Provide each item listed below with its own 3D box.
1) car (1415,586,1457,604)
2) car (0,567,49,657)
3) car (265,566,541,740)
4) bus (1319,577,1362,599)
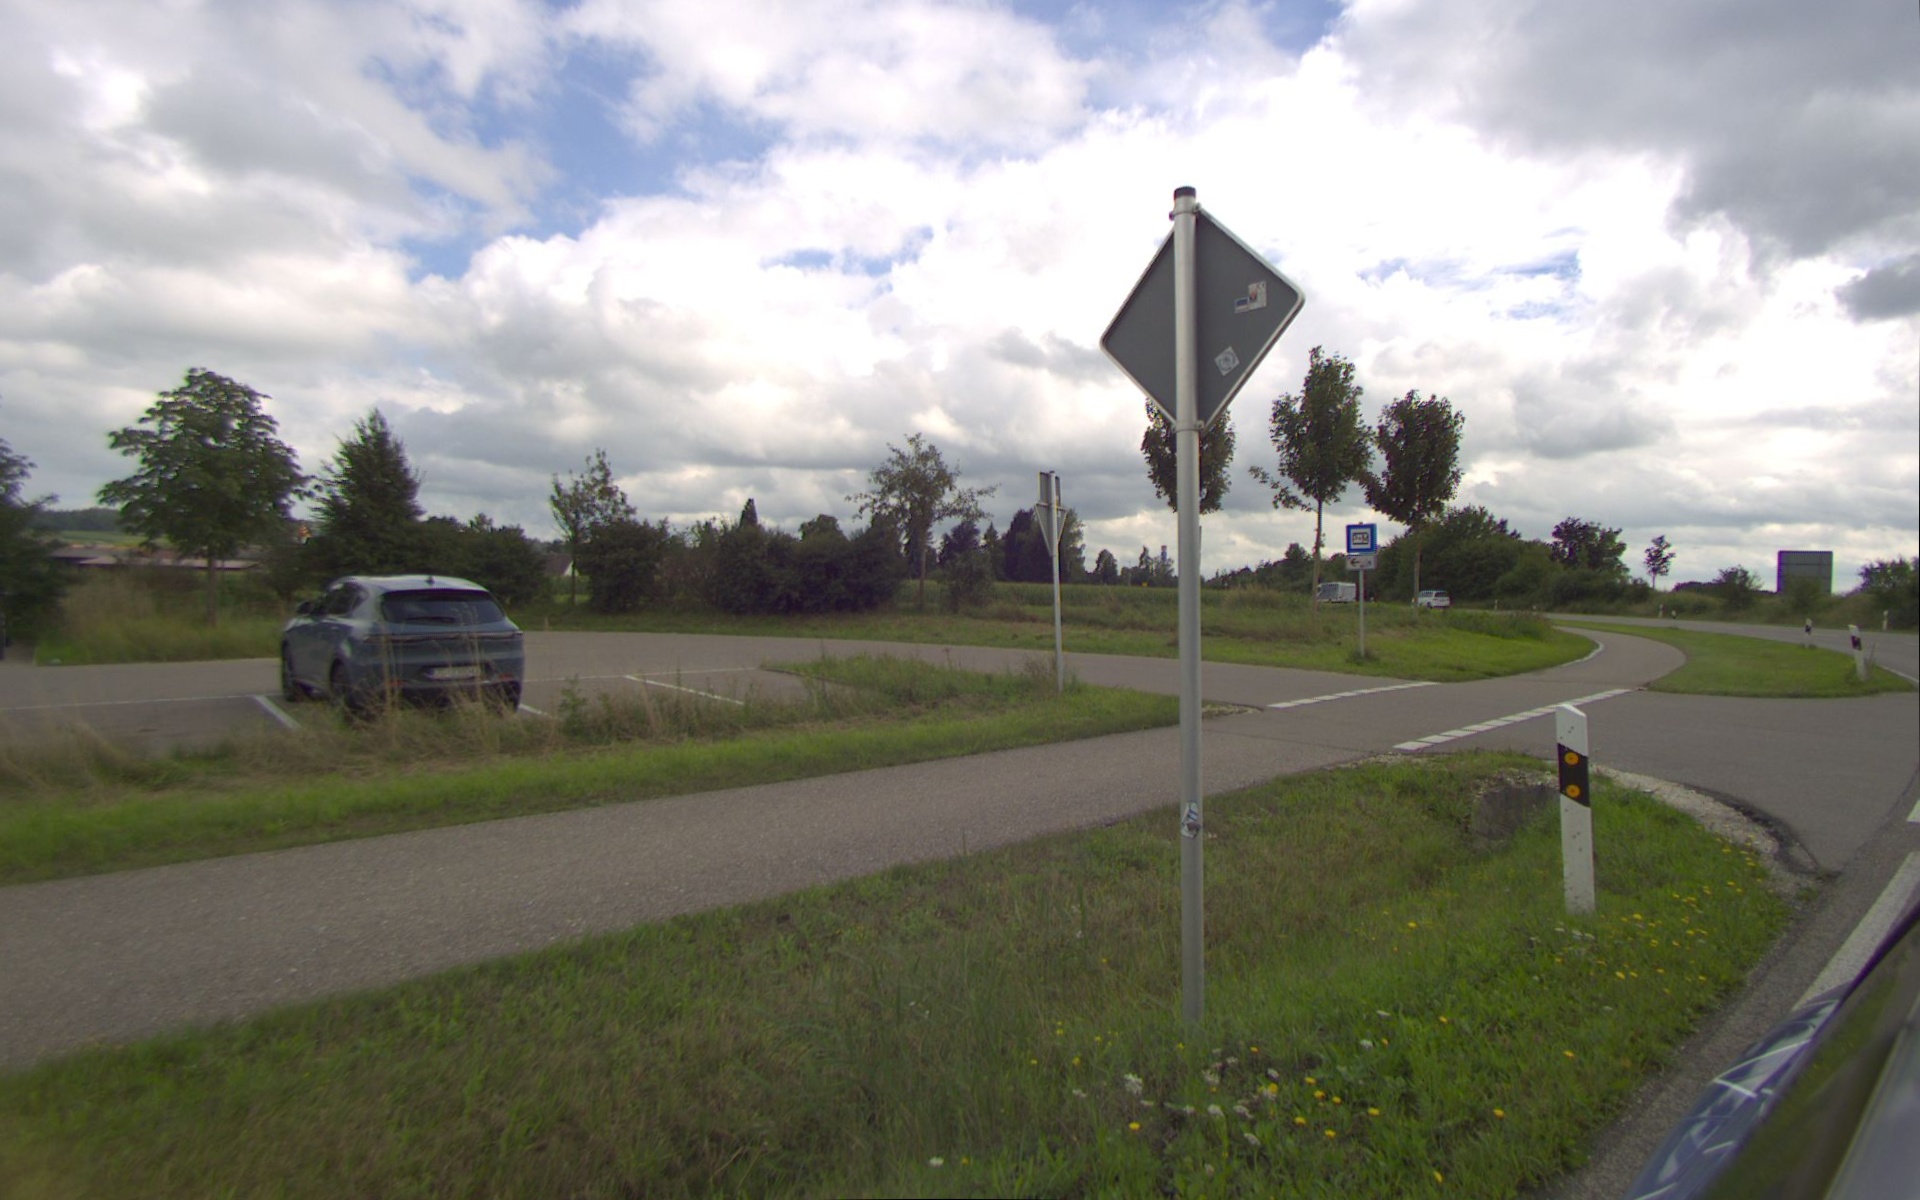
[{"bbox_3d":[50.963,-0.587,108.375,2.080,1.892,5.186,1,1,1],"label":"car"},{"bbox_3d":[-16.539,0.159,17.026,1.701,1.408,3.690,0,1,-44],"label":"car"},{"bbox_3d":[-6.679,0.454,11.909,1.807,1.585,4.276,0,2,-44],"label":"car"},{"bbox_3d":[49.514,-1.629,131.959,2.436,2.745,8.431,1,1,0],"label":"bus"}]
